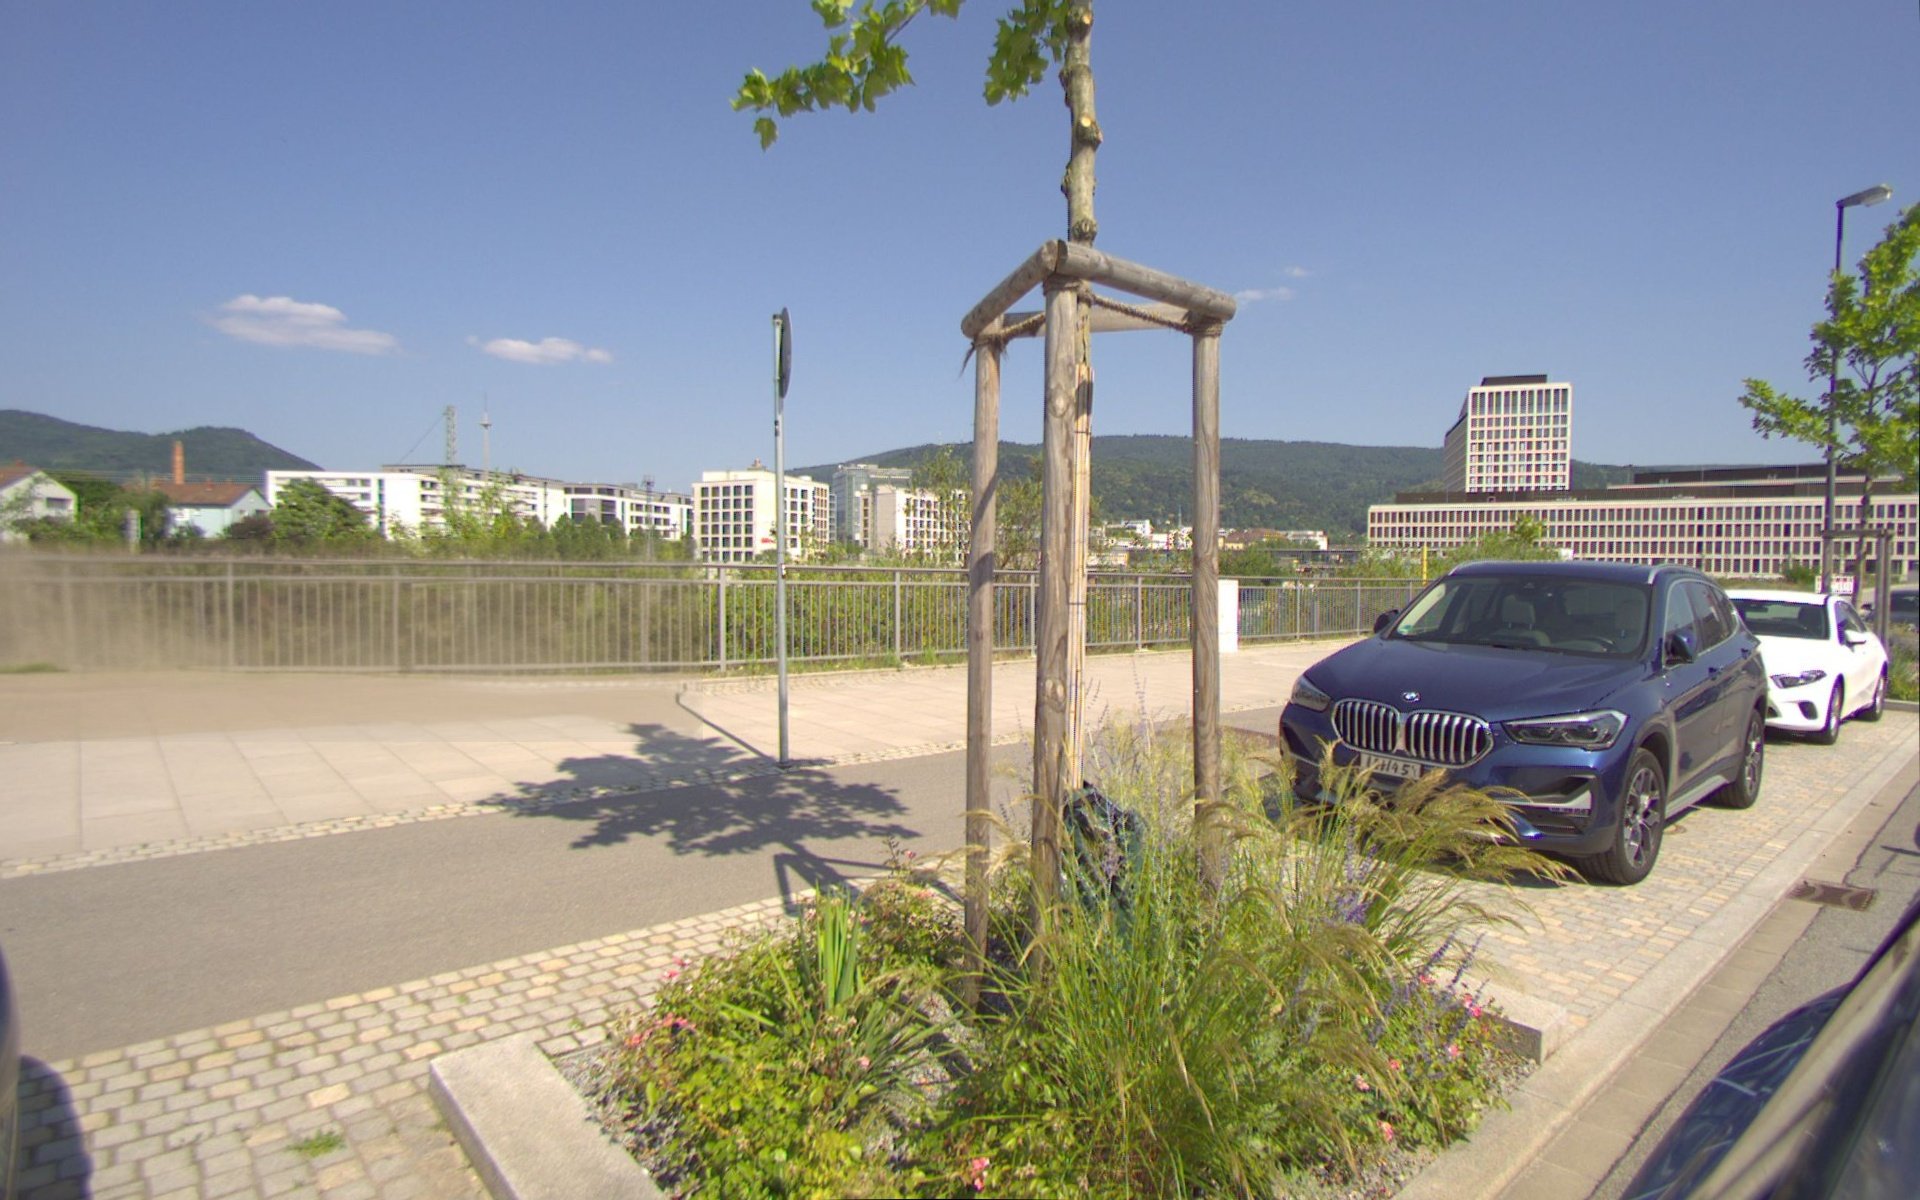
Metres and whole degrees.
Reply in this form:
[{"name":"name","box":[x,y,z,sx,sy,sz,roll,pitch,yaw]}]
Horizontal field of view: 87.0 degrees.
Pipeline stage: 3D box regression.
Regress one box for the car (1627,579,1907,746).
[{"name":"car","box":[8.765,0.531,10.879,3.930,1.473,1.663,-1,0,-41]}]

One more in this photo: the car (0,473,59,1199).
[{"name":"car","box":[-2.992,0.562,0.366,3.930,1.444,1.664,-1,4,-41]}]

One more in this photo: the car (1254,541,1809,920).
[{"name":"car","box":[3.805,0.537,6.398,4.164,1.627,1.768,-1,0,-41]}]

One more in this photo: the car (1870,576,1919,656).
[{"name":"car","box":[20.444,0.294,21.137,3.930,1.558,1.663,-1,0,-41]}]
